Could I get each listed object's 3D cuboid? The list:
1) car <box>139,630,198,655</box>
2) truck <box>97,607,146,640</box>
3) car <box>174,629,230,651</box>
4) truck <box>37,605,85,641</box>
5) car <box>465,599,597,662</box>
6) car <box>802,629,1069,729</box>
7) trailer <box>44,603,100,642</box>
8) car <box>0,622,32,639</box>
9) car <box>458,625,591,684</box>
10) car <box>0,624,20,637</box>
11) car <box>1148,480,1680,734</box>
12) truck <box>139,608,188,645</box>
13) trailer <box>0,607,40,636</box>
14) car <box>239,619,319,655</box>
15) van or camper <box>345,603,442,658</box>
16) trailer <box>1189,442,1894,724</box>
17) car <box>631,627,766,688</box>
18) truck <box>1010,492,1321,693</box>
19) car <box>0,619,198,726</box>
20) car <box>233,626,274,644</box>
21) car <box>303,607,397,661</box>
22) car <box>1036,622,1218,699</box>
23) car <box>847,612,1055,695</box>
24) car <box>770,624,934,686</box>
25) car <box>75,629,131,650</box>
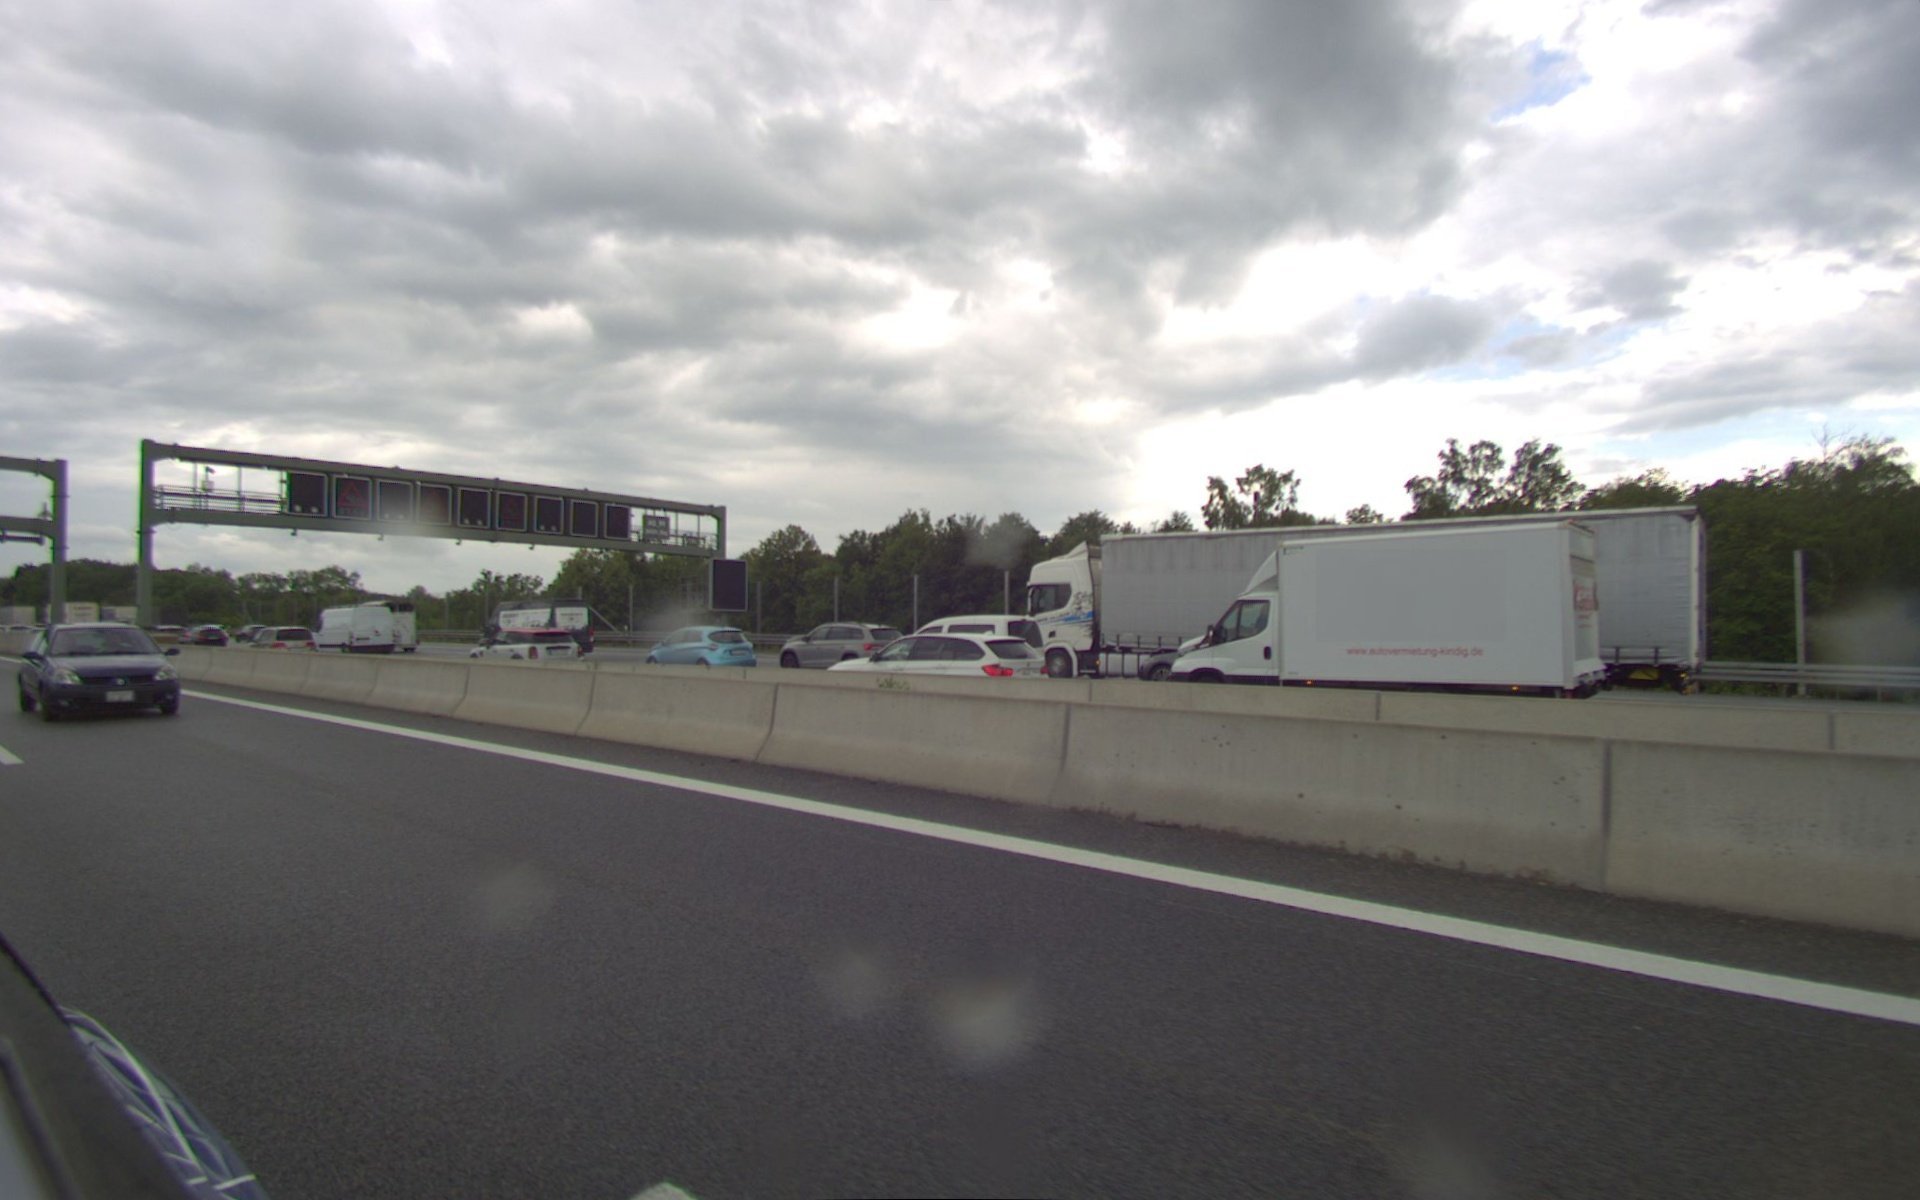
[{"bbox_3d":[-45.709,2.445,58.417,4.500,1.402,1.686,-2,-2,39],"label":"car"},{"bbox_3d":[-100.444,2.846,121.198,10.751,3.869,2.868,-2,-2,41],"label":"truck"},{"bbox_3d":[-49.134,2.599,65.560,5.125,1.368,1.780,-2,-2,40],"label":"car"},{"bbox_3d":[-107.739,2.768,121.234,7.732,4.226,3.145,-2,-2,40],"label":"truck"},{"bbox_3d":[-18.798,1.323,44.083,7.353,2.566,2.248,-2,-2,40],"label":"car"},{"bbox_3d":[-0.564,1.291,17.906,4.931,1.504,1.625,-1,-1,41],"label":"car"},{"bbox_3d":[-102.118,2.642,116.313,11.947,4.226,3.154,-2,-2,40],"label":"trailer"},{"bbox_3d":[-92.641,2.984,99.279,4.718,1.660,1.853,-2,-2,40],"label":"car"},{"bbox_3d":[-12.376,1.476,28.644,4.391,1.509,1.740,-1,-1,41],"label":"car"},{"bbox_3d":[-117.688,3.745,125.117,4.674,1.514,1.628,-1,-1,41],"label":"car"},{"bbox_3d":[7.086,0.150,16.732,7.623,3.325,2.472,-1,-1,41],"label":"car"},{"bbox_3d":[-80.508,2.716,102.233,7.802,3.564,2.438,-2,-2,40],"label":"truck"},{"bbox_3d":[-135.589,3.139,145.703,13.008,3.963,3.210,-1,0,41],"label":"trailer"},{"bbox_3d":[-29.393,1.567,43.640,4.390,1.449,1.740,-1,-1,40],"label":"car"},{"bbox_3d":[-31.228,1.668,55.752,6.206,2.869,2.558,-2,-2,39],"label":"van or camper"},{"bbox_3d":[12.014,-0.184,23.021,13.284,4.893,3.115,-1,-1,40],"label":"trailer"},{"bbox_3d":[-7.781,1.628,29.896,4.278,1.634,1.783,-1,-1,41],"label":"car"},{"bbox_3d":[5.563,-0.116,28.434,8.020,4.893,3.115,-1,-1,40],"label":"truck"},{"bbox_3d":[-13.806,1.047,16.053,5.014,1.418,1.758,-2,-1,41],"label":"car"},{"bbox_3d":[-59.036,2.906,84.536,4.339,1.437,1.744,-2,-2,40],"label":"car"},{"bbox_3d":[-30.397,1.679,50.324,6.061,2.507,2.180,-2,-2,40],"label":"car"},{"bbox_3d":[3.940,1.383,24.282,4.012,1.680,1.694,-1,-1,41],"label":"car"},{"bbox_3d":[-0.305,1.145,22.927,4.793,1.680,1.694,-1,-1,41],"label":"car"},{"bbox_3d":[-3.303,1.563,30.016,5.314,1.680,1.694,-1,-1,41],"label":"car"},{"bbox_3d":[-57.170,2.631,67.484,5.253,1.368,2.058,-2,-2,40],"label":"car"}]
